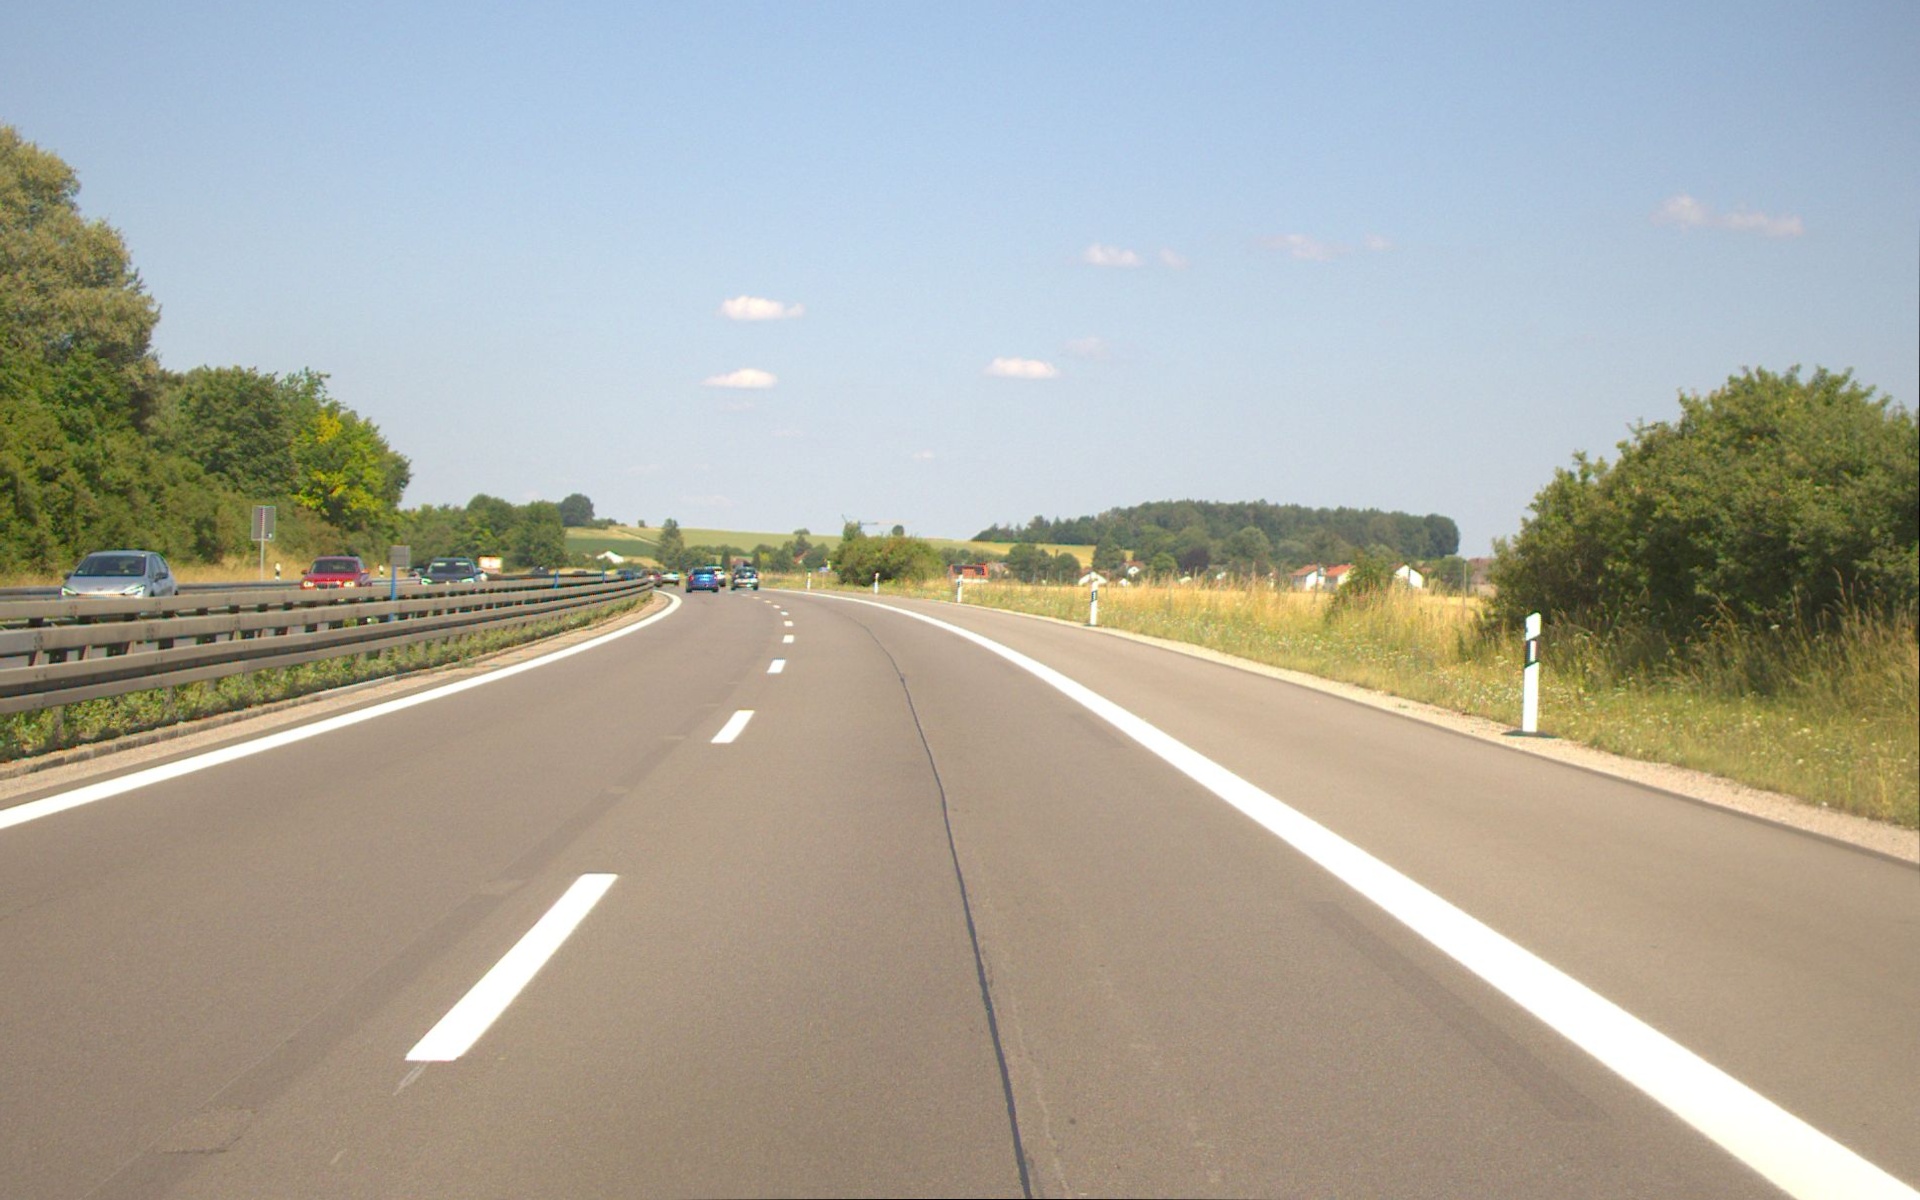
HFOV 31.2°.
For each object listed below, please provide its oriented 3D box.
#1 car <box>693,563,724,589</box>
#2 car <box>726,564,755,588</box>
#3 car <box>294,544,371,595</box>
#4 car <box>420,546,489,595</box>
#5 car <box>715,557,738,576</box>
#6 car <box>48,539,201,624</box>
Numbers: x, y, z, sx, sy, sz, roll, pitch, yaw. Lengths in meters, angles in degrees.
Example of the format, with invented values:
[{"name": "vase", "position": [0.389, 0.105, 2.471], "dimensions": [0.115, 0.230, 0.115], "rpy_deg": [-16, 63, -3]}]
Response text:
[{"name": "car", "position": [-14.480, -1.389, 198.109], "dimensions": [1.676, 1.448, 3.592], "rpy_deg": [0, 0, -3]}, {"name": "car", "position": [-13.771, -1.498, 215.689], "dimensions": [1.675, 1.448, 3.592], "rpy_deg": [0, 0, -6]}, {"name": "car", "position": [-18.752, -0.930, 102.939], "dimensions": [1.649, 1.488, 4.540], "rpy_deg": [1, 1, -3]}, {"name": "car", "position": [-15.757, -0.928, 107.262], "dimensions": [1.649, 1.488, 4.540], "rpy_deg": [1, 1, -3]}, {"name": "car", "position": [-17.569, -2.518, 258.189], "dimensions": [1.676, 1.448, 3.592], "rpy_deg": [0, 0, -5]}, {"name": "car", "position": [-16.592, -0.392, 68.515], "dimensions": [1.993, 1.607, 4.637], "rpy_deg": [1, 1, -1]}]
